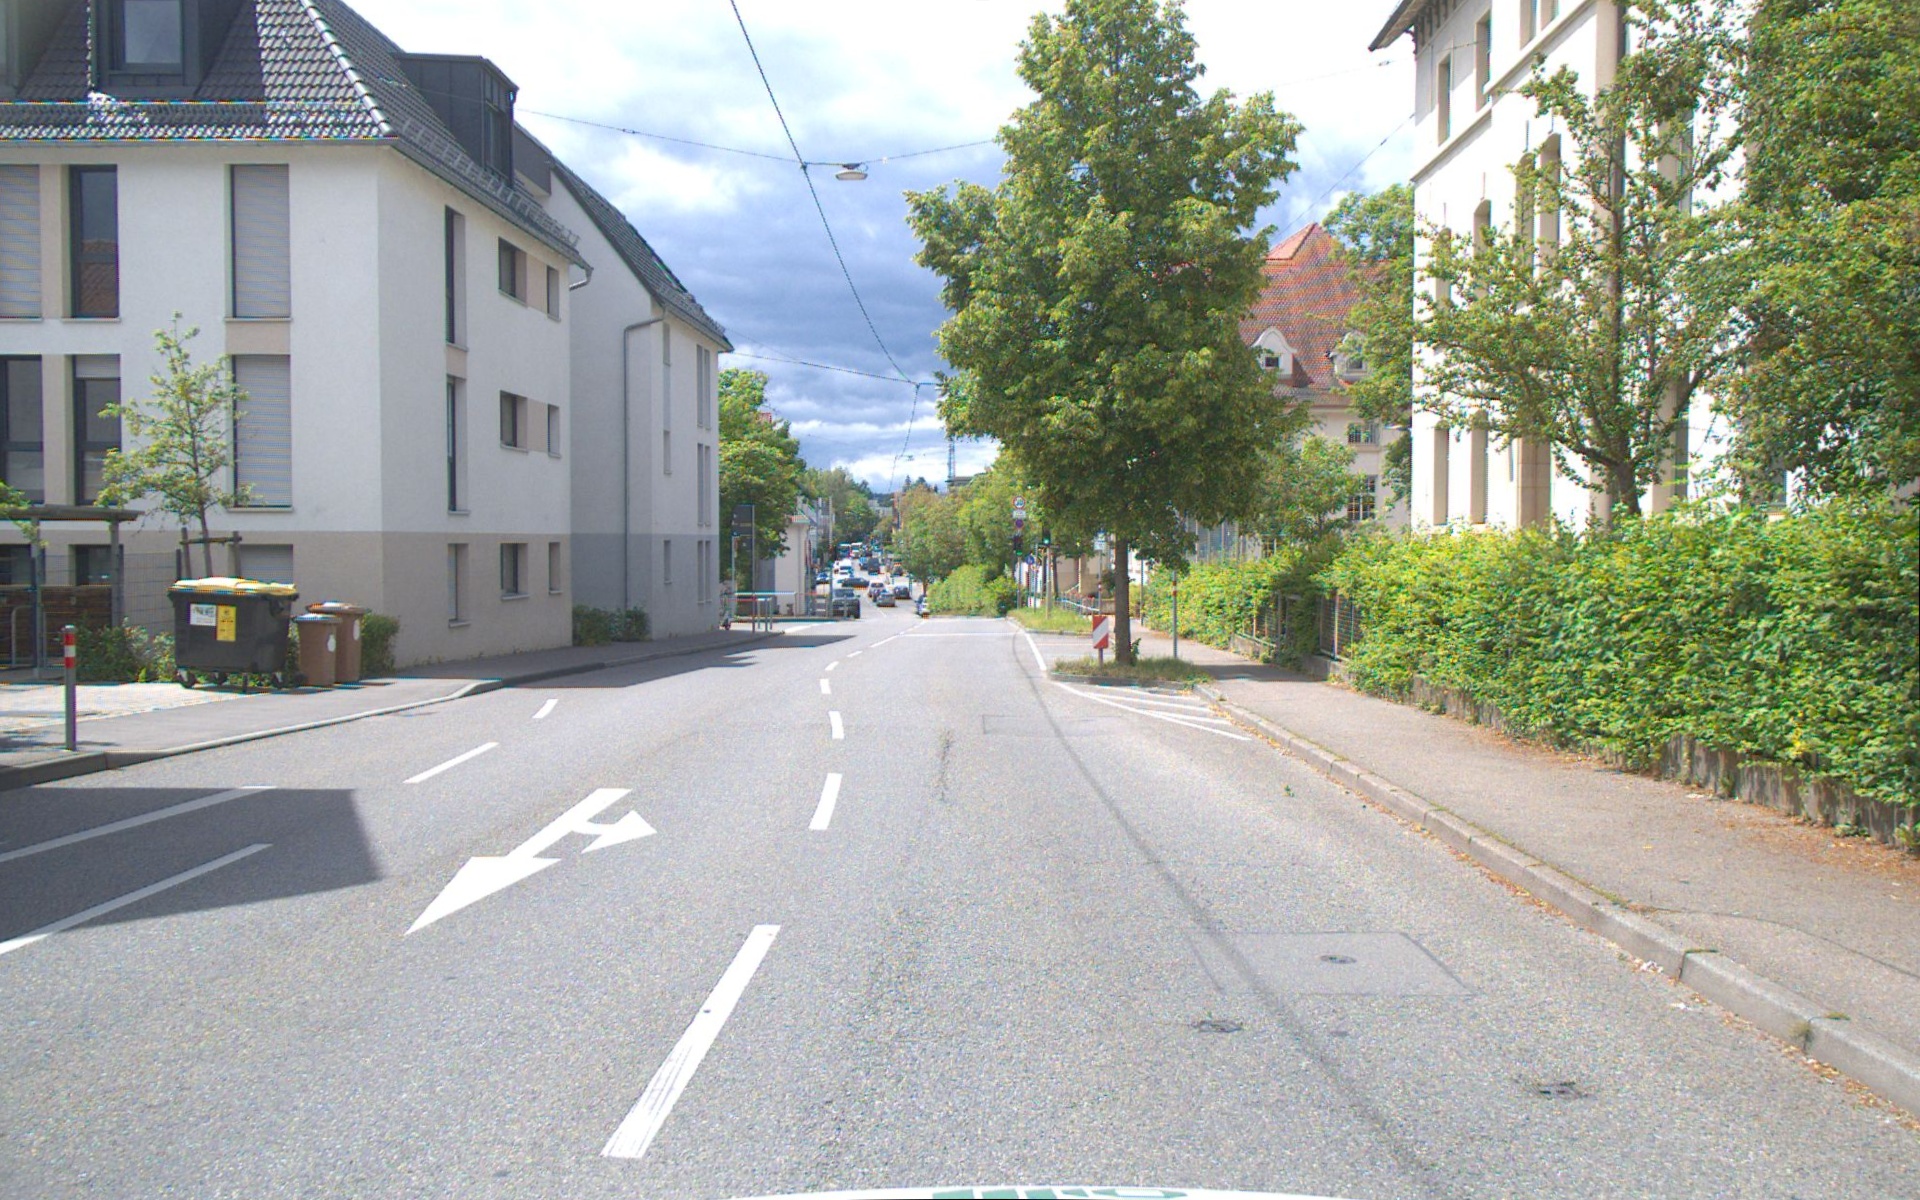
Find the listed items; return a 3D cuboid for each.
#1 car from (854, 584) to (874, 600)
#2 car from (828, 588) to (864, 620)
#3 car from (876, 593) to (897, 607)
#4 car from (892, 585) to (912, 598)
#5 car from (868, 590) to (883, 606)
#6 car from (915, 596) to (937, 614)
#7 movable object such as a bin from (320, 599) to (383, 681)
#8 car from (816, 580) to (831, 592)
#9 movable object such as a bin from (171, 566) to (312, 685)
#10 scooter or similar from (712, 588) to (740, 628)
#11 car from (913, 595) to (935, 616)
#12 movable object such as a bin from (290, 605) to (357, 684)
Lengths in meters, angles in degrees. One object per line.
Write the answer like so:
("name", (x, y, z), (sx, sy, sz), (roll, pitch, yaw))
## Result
("car", (-11.230, -0.947, 193.111), (1.803, 1.894, 3.841), (1, 1, -11))
("car", (-5.978, 0.201, 87.162), (1.759, 1.638, 4.644), (0, 0, -2))
("car", (-7.766, 0.023, 174.591), (1.712, 1.441, 3.992), (0, 0, -9))
("car", (-6.727, -1.026, 190.197), (1.721, 1.395, 3.990), (0, 1, -11))
("car", (-9.373, -0.254, 183.828), (1.251, 1.553, 3.044), (0, 3, -10))
("car", (-2.970, 0.445, 143.968), (1.751, 1.535, 4.361), (1, 0, -4))
("movable object such as a bin", (-8.302, 0.534, 22.590), (0.627, 1.094, 0.660), (0, 0, -2))
("car", (-19.164, -1.954, 232.729), (1.835, 1.668, 3.998), (2, 0, -2))
("movable object such as a bin", (-9.126, 0.316, 21.067), (1.308, 1.471, 1.170), (0, 0, -3))
("scooter or similar", (-7.466, 0.253, 52.760), (0.484, 1.283, 1.295), (0, 0, -28))
("car", (-3.272, 0.486, 149.833), (1.808, 1.798, 4.511), (1, 0, -4))
("movable object such as a bin", (-8.398, 0.574, 21.844), (0.627, 1.018, 0.657), (0, 0, 0))
